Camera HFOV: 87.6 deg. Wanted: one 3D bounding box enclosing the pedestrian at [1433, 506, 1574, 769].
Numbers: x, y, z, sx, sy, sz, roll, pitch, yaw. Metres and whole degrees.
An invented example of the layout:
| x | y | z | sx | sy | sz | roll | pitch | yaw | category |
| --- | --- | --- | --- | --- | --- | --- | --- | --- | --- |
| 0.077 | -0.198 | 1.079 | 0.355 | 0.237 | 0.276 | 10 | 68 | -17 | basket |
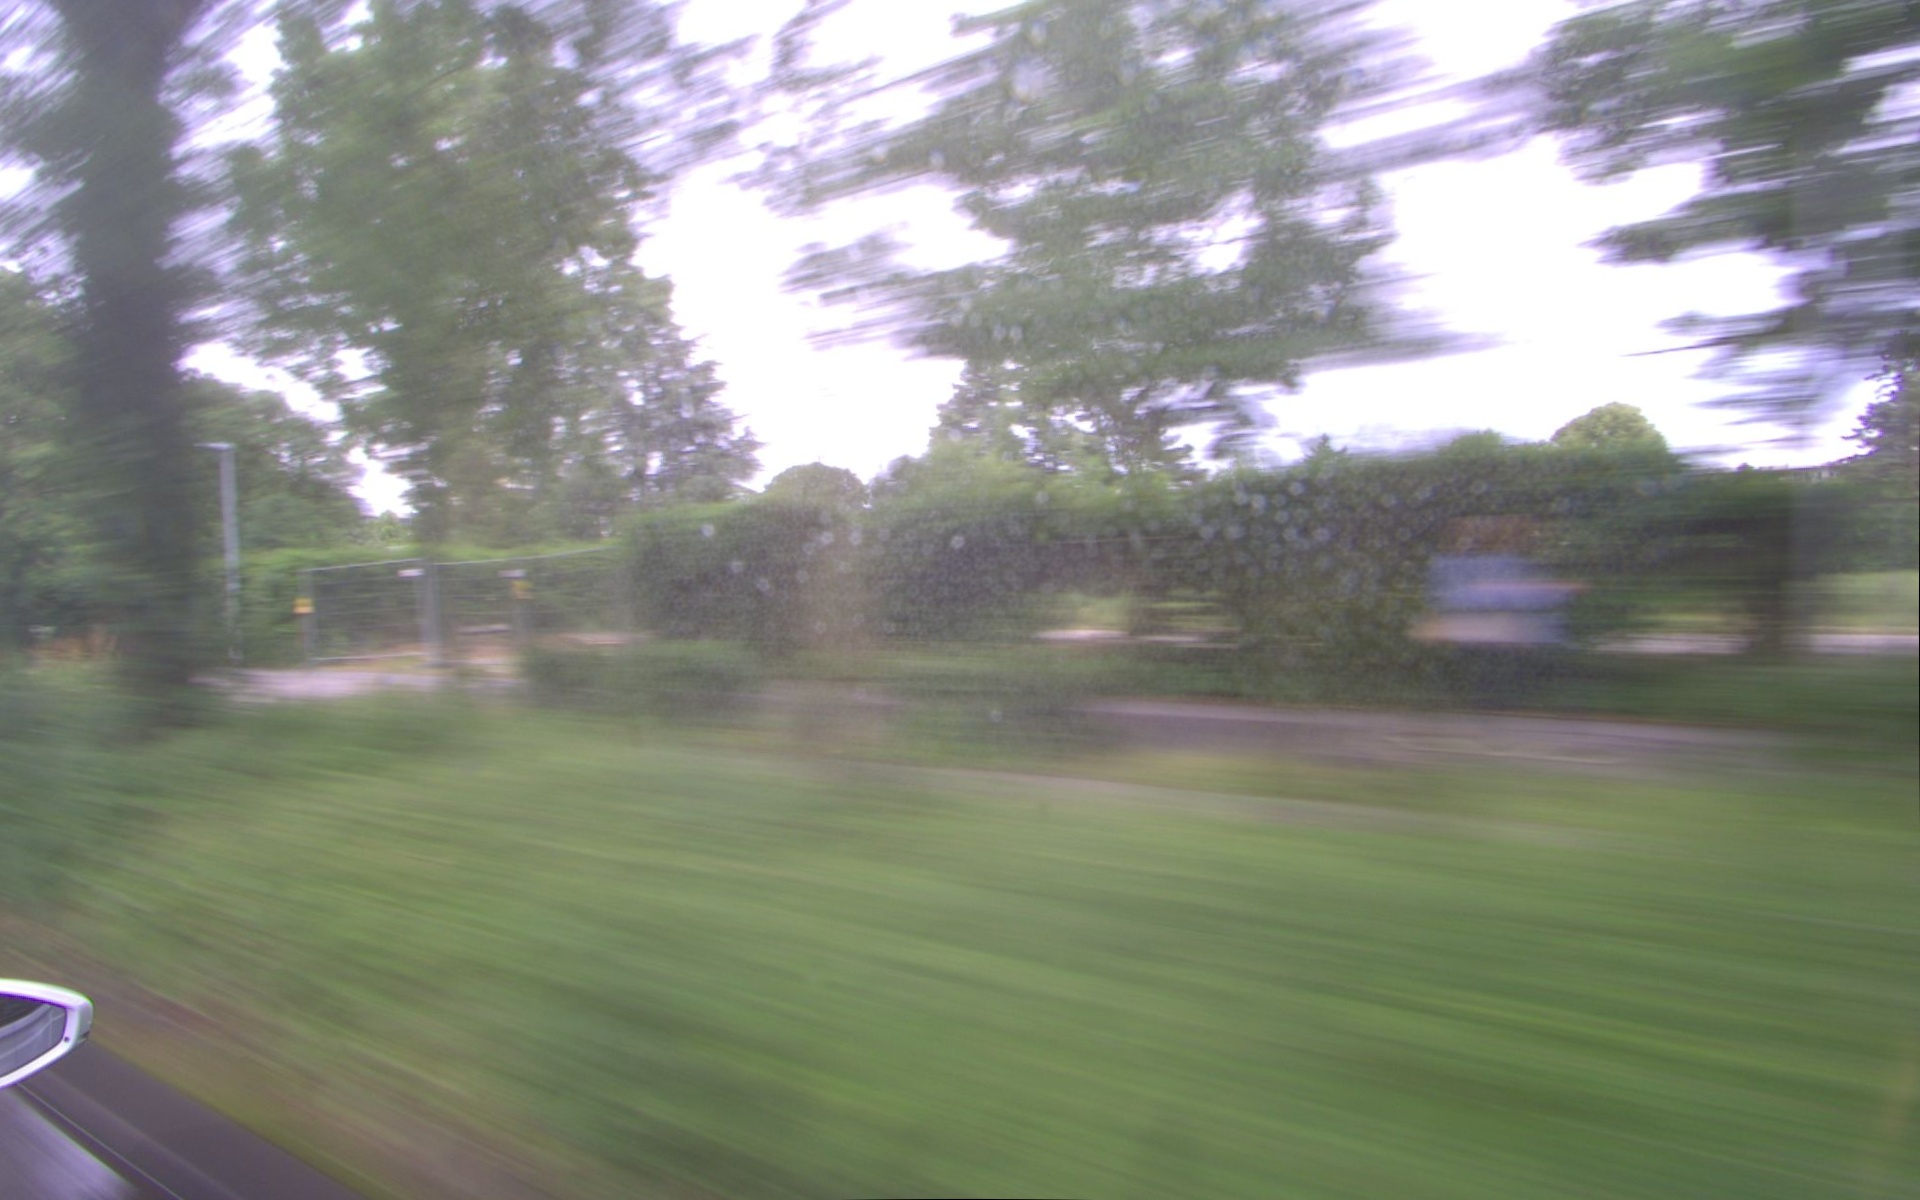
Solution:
| x | y | z | sx | sy | sz | roll | pitch | yaw | category |
| --- | --- | --- | --- | --- | --- | --- | --- | --- | --- |
| 3.706 | 0.236 | 6.824 | 0.808 | 1.674 | 0.571 | 0 | 2 | 32 | pedestrian |
